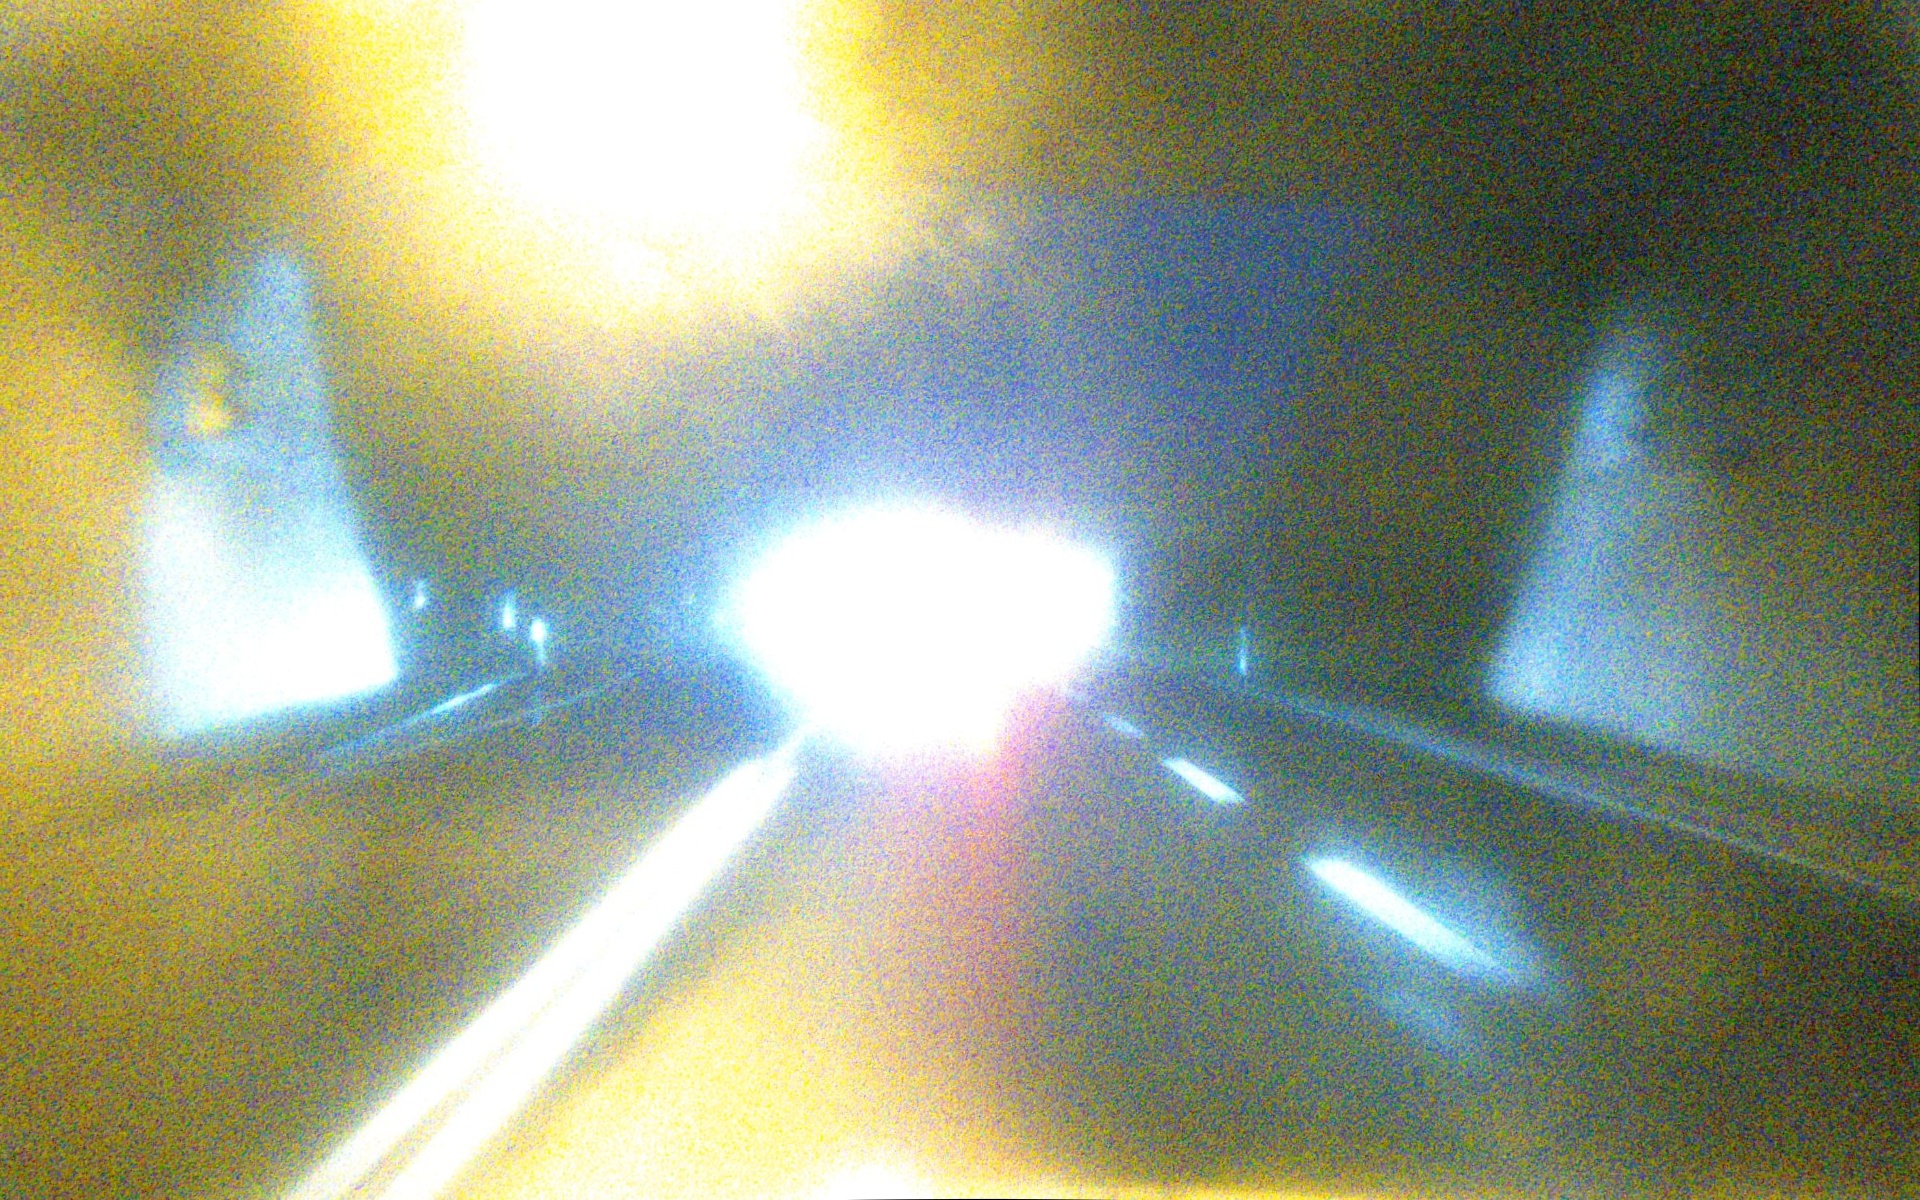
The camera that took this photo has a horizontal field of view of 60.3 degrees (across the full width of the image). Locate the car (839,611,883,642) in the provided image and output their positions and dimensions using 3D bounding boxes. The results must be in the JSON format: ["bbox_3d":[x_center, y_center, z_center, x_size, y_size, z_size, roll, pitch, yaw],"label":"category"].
[{"bbox_3d":[-4.939,1.309,82.810,1.953,1.499,4.275,1,0,0],"label":"car"}]

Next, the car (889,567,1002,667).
[{"bbox_3d":[-0.327,0.291,29.484,1.773,1.650,3.997,1,0,-4],"label":"car"}]
